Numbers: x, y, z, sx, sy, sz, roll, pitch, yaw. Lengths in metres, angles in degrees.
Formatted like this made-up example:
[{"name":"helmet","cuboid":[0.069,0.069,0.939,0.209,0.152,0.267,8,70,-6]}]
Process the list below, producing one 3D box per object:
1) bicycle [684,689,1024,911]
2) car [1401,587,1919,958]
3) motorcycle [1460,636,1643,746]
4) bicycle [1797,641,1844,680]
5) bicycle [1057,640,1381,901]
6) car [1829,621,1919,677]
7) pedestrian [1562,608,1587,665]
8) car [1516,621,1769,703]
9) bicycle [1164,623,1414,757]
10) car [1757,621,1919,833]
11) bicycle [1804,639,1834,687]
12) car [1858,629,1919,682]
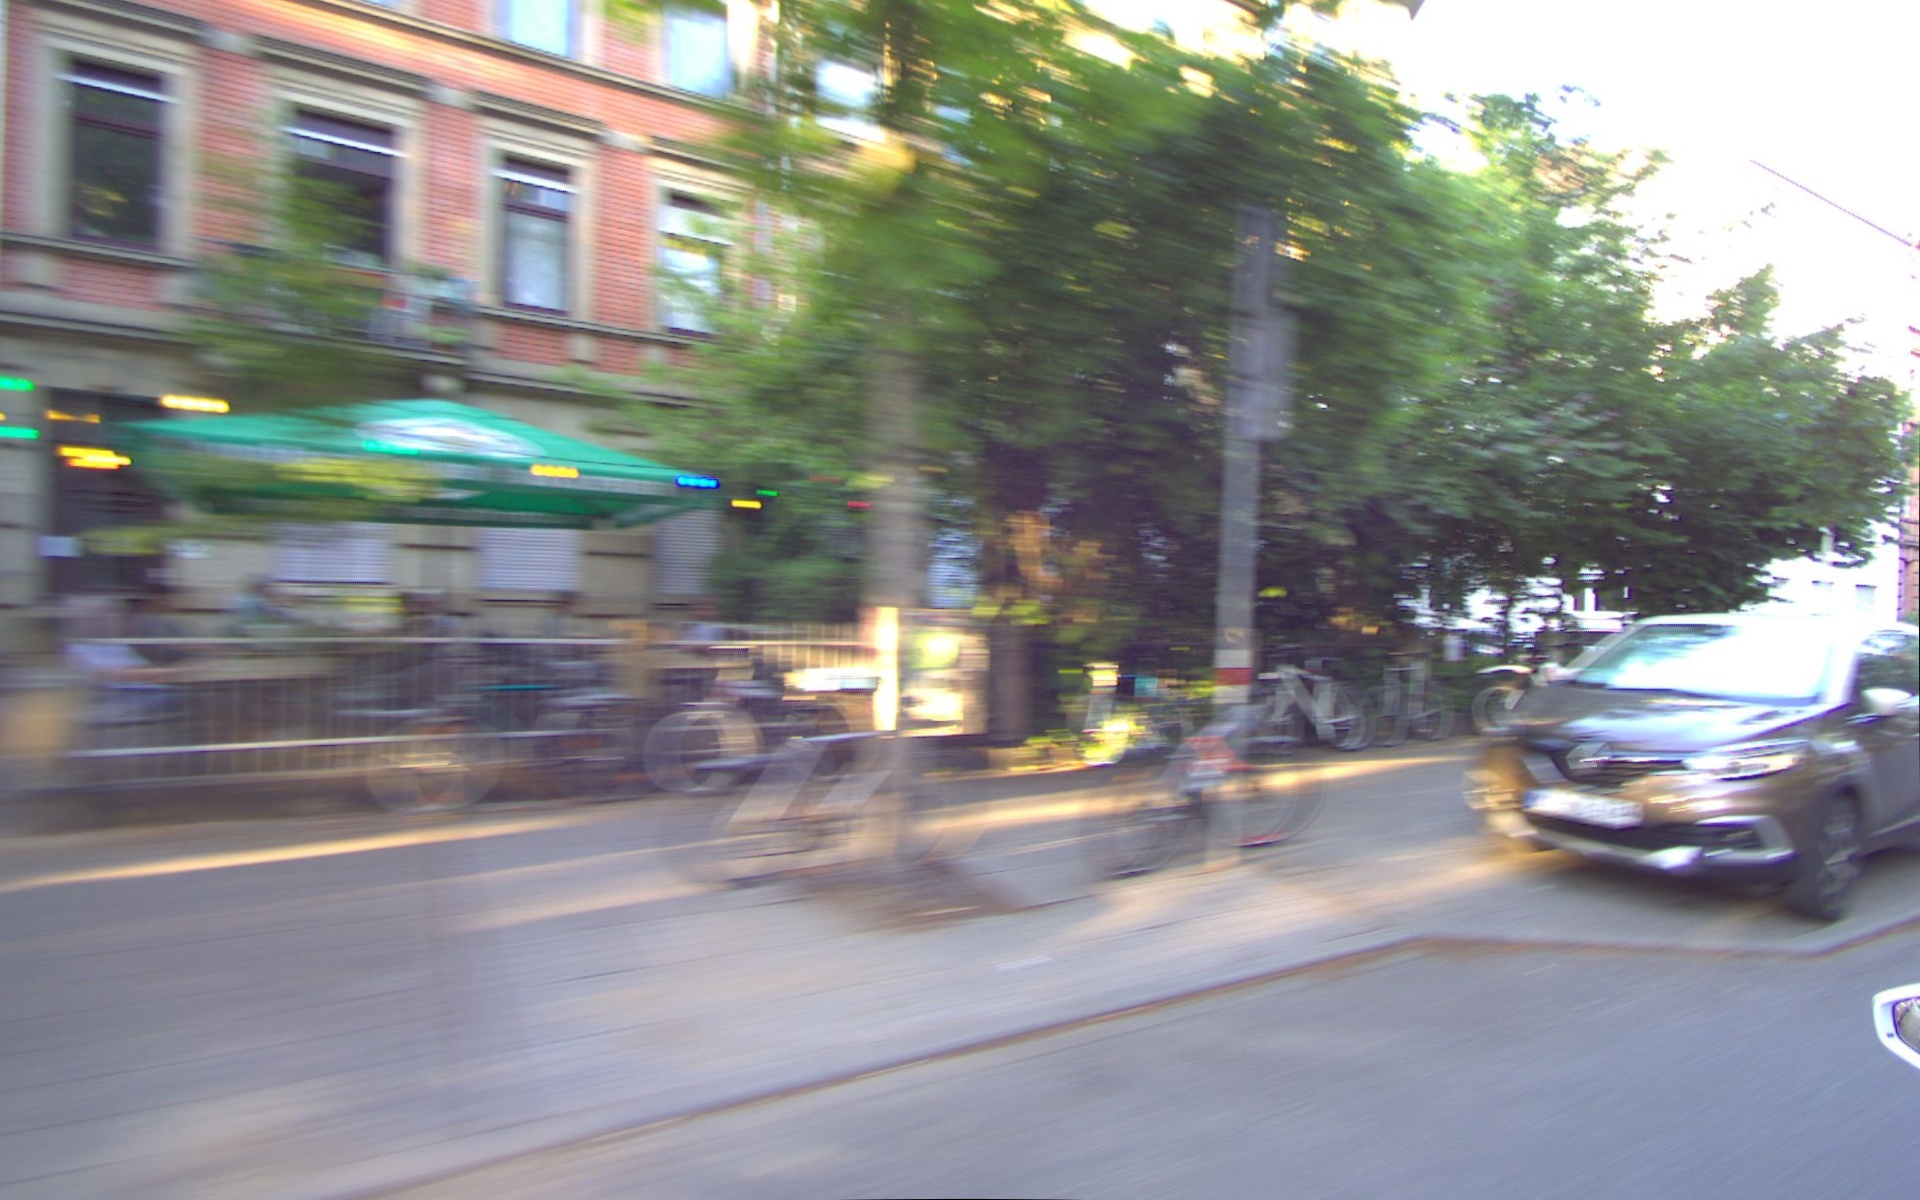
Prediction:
[{"name":"bicycle","cuboid":[-0.518,0.979,5.232,1.712,0.941,0.414,1,2,-28]},{"name":"car","cuboid":[4.893,0.794,6.320,4.353,1.585,1.680,1,2,-32]},{"name":"motorcycle","cuboid":[7.325,1.069,12.373,2.857,1.172,0.579,0,3,-30]},{"name":"bicycle","cuboid":[24.439,1.710,28.526,1.855,1.076,0.394,2,0,-29]},{"name":"bicycle","cuboid":[1.493,0.885,5.678,1.876,1.272,0.480,1,3,-28]},{"name":"car","cuboid":[26.892,1.382,27.729,1.683,1.467,4.086,0,0,-20]},{"name":"pedestrian","cuboid":[19.066,1.129,31.168,0.528,1.706,0.579,2,4,40]},{"name":"car","cuboid":[15.121,1.298,22.470,1.694,1.573,4.416,0,0,-39]},{"name":"bicycle","cuboid":[3.376,0.909,10.336,2.441,1.301,0.606,1,-1,-10]},{"name":"car","cuboid":[8.816,1.016,8.596,4.351,1.522,1.681,2,-1,-31]},{"name":"bicycle","cuboid":[22.055,1.595,25.802,0.361,1.167,1.846,1,0,34]},{"name":"car","cuboid":[28.903,1.652,28.997,1.789,1.467,4.088,0,0,-19]}]
